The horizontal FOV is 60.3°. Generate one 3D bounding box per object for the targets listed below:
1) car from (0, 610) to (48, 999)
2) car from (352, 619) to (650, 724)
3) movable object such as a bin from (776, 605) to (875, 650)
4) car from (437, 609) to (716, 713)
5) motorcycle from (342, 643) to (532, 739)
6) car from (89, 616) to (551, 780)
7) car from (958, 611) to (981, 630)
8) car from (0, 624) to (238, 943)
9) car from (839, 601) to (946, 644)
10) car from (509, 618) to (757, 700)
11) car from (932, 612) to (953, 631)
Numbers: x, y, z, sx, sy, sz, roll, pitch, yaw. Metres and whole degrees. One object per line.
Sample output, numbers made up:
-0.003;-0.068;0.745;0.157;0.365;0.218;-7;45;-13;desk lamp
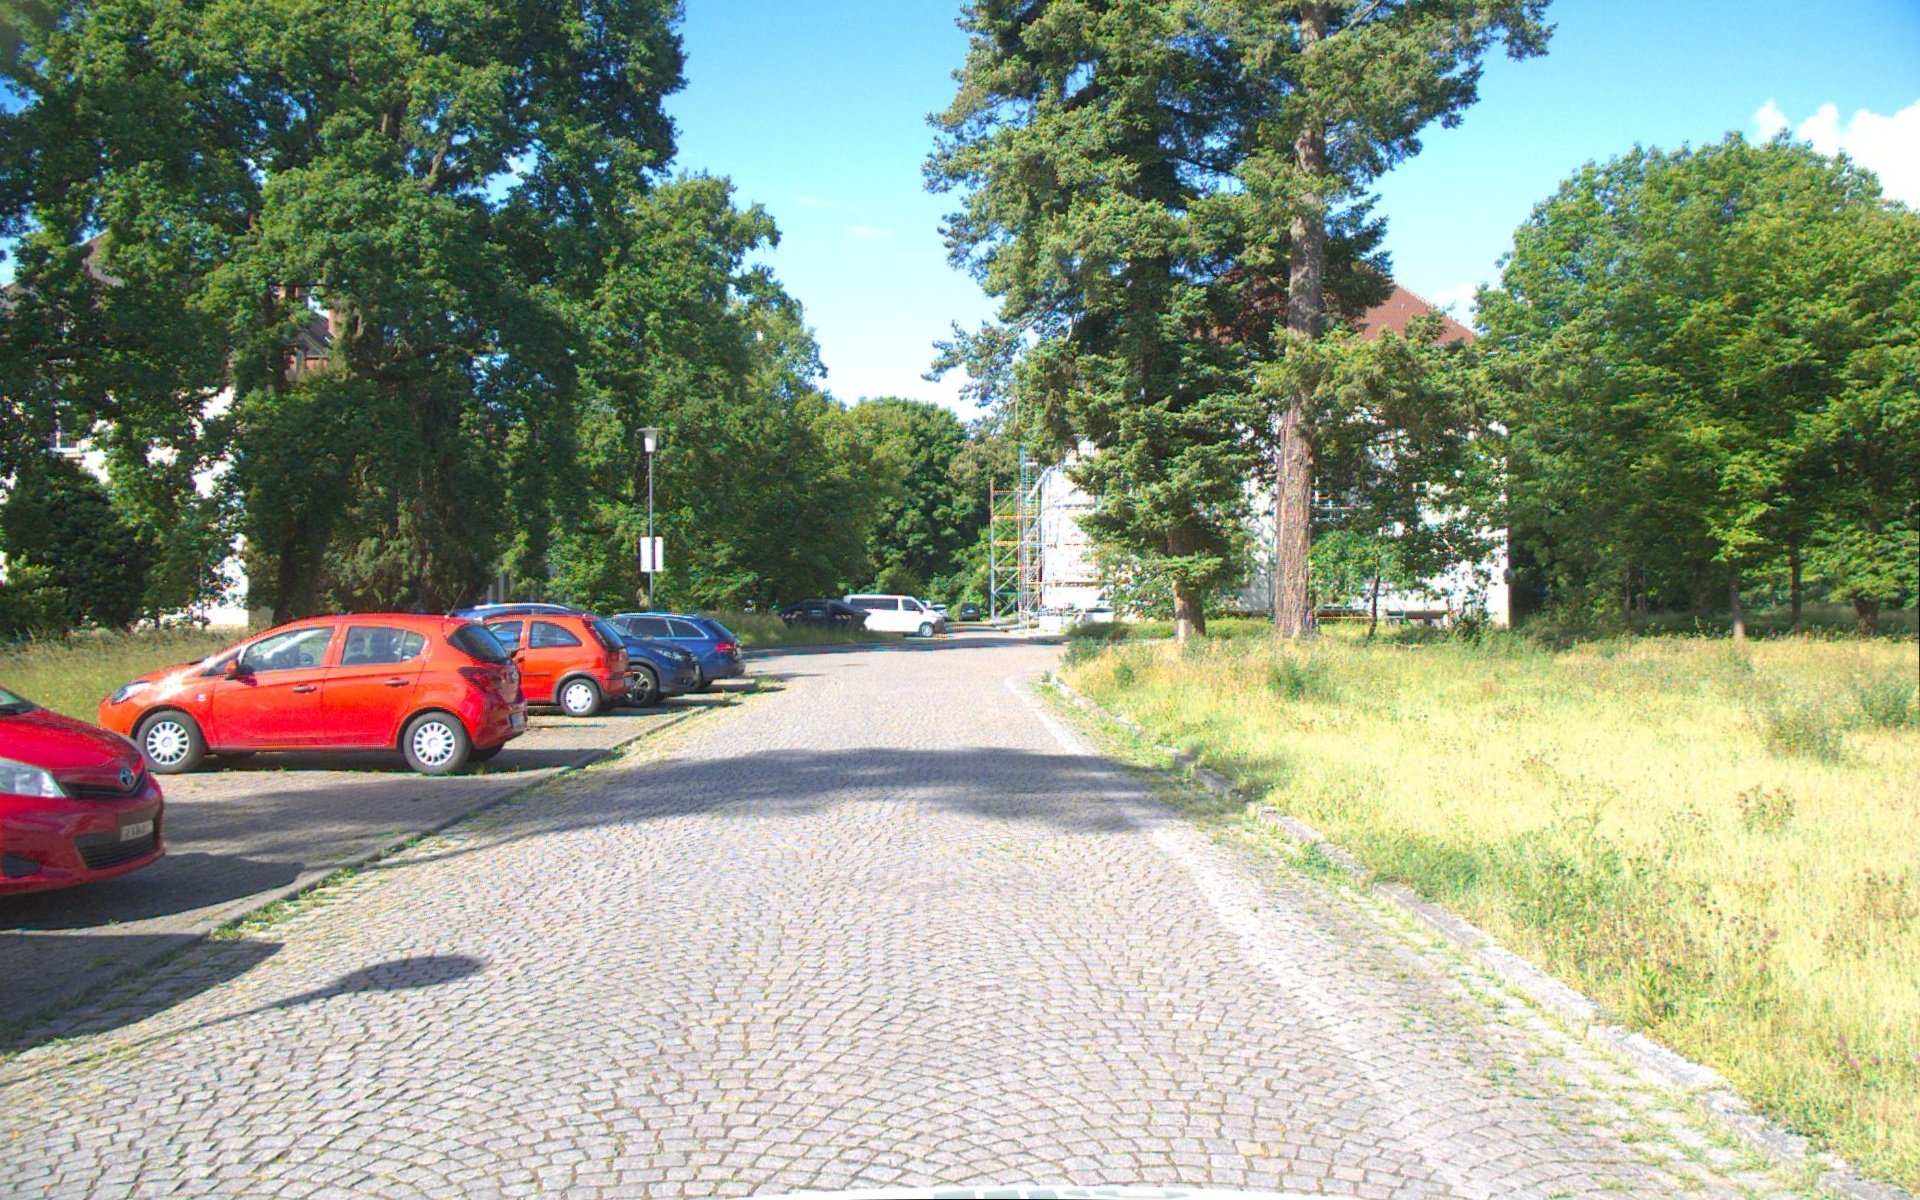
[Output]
-5.846;0.815;6.054;3.874;1.595;1.973;1;0;-3;car
-6.647;1.015;24.267;3.842;1.458;1.842;0;0;0;car
-5.452;1.108;67.137;3.490;1.775;2.026;-1;-1;18;movable object such as a bin
-6.101;0.957;26.656;4.051;1.607;1.884;0;0;-1;car
-6.578;1.135;20.855;2.196;1.182;0.577;0;-1;0;motorcycle
-6.190;0.927;16.371;3.844;1.486;1.841;1;0;-3;car
0.818;1.812;146.668;1.931;1.697;4.085;-1;-1;-1;car
-6.177;0.870;8.778;3.844;1.474;1.866;1;0;-3;car
-3.257;1.086;80.279;5.128;2.051;1.949;0;-1;-2;car
-6.126;1.087;31.338;4.269;1.470;1.921;0;0;2;car
-1.532;1.899;146.318;1.775;1.607;4.133;-1;-1;-1;car
